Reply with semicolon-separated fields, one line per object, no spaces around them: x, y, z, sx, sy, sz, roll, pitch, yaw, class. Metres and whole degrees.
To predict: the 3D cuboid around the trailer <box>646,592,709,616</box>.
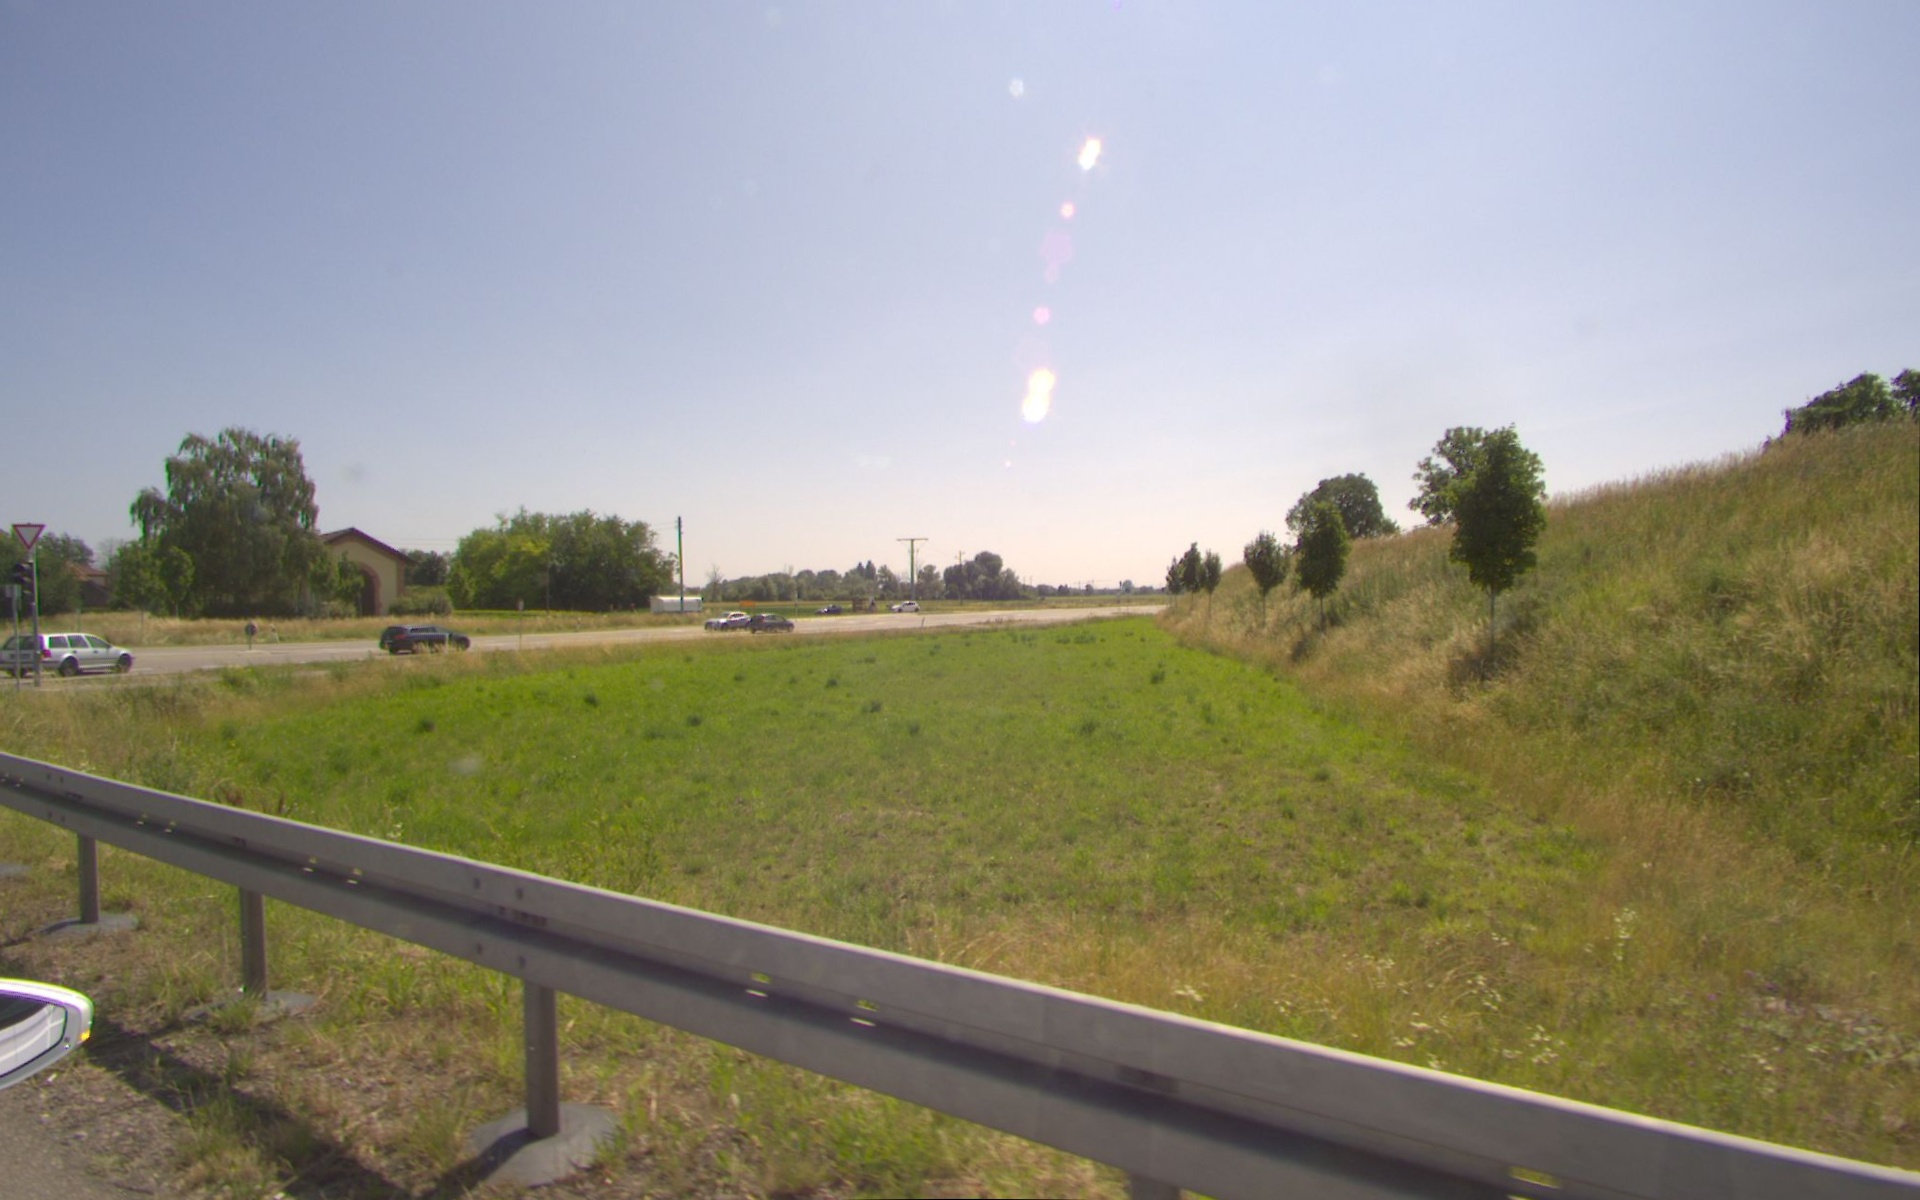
-30.523;0.422;108.385;2.651;2.489;6.339;1;2;36;trailer

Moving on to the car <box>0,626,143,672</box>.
-30.203;1.623;34.016;1.771;1.447;4.093;0;-1;-5;car

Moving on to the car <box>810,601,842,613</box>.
-16.372;0.840;122.325;1.659;1.406;3.809;2;1;40;car

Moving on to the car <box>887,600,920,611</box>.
-7.419;0.737;132.254;3.977;1.350;1.688;1;1;-28;car

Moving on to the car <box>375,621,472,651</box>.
-27.274;1.806;51.070;1.773;1.495;4.408;-1;-1;18;car

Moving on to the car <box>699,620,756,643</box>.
-18.207;2.470;78.726;1.843;1.565;4.531;1;1;28;car

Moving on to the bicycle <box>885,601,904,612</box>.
-9.555;0.958;145.977;2.572;1.389;0.900;-2;-2;22;bicycle

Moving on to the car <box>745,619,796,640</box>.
-14.600;2.270;77.344;1.778;1.541;3.867;-1;-1;28;car
